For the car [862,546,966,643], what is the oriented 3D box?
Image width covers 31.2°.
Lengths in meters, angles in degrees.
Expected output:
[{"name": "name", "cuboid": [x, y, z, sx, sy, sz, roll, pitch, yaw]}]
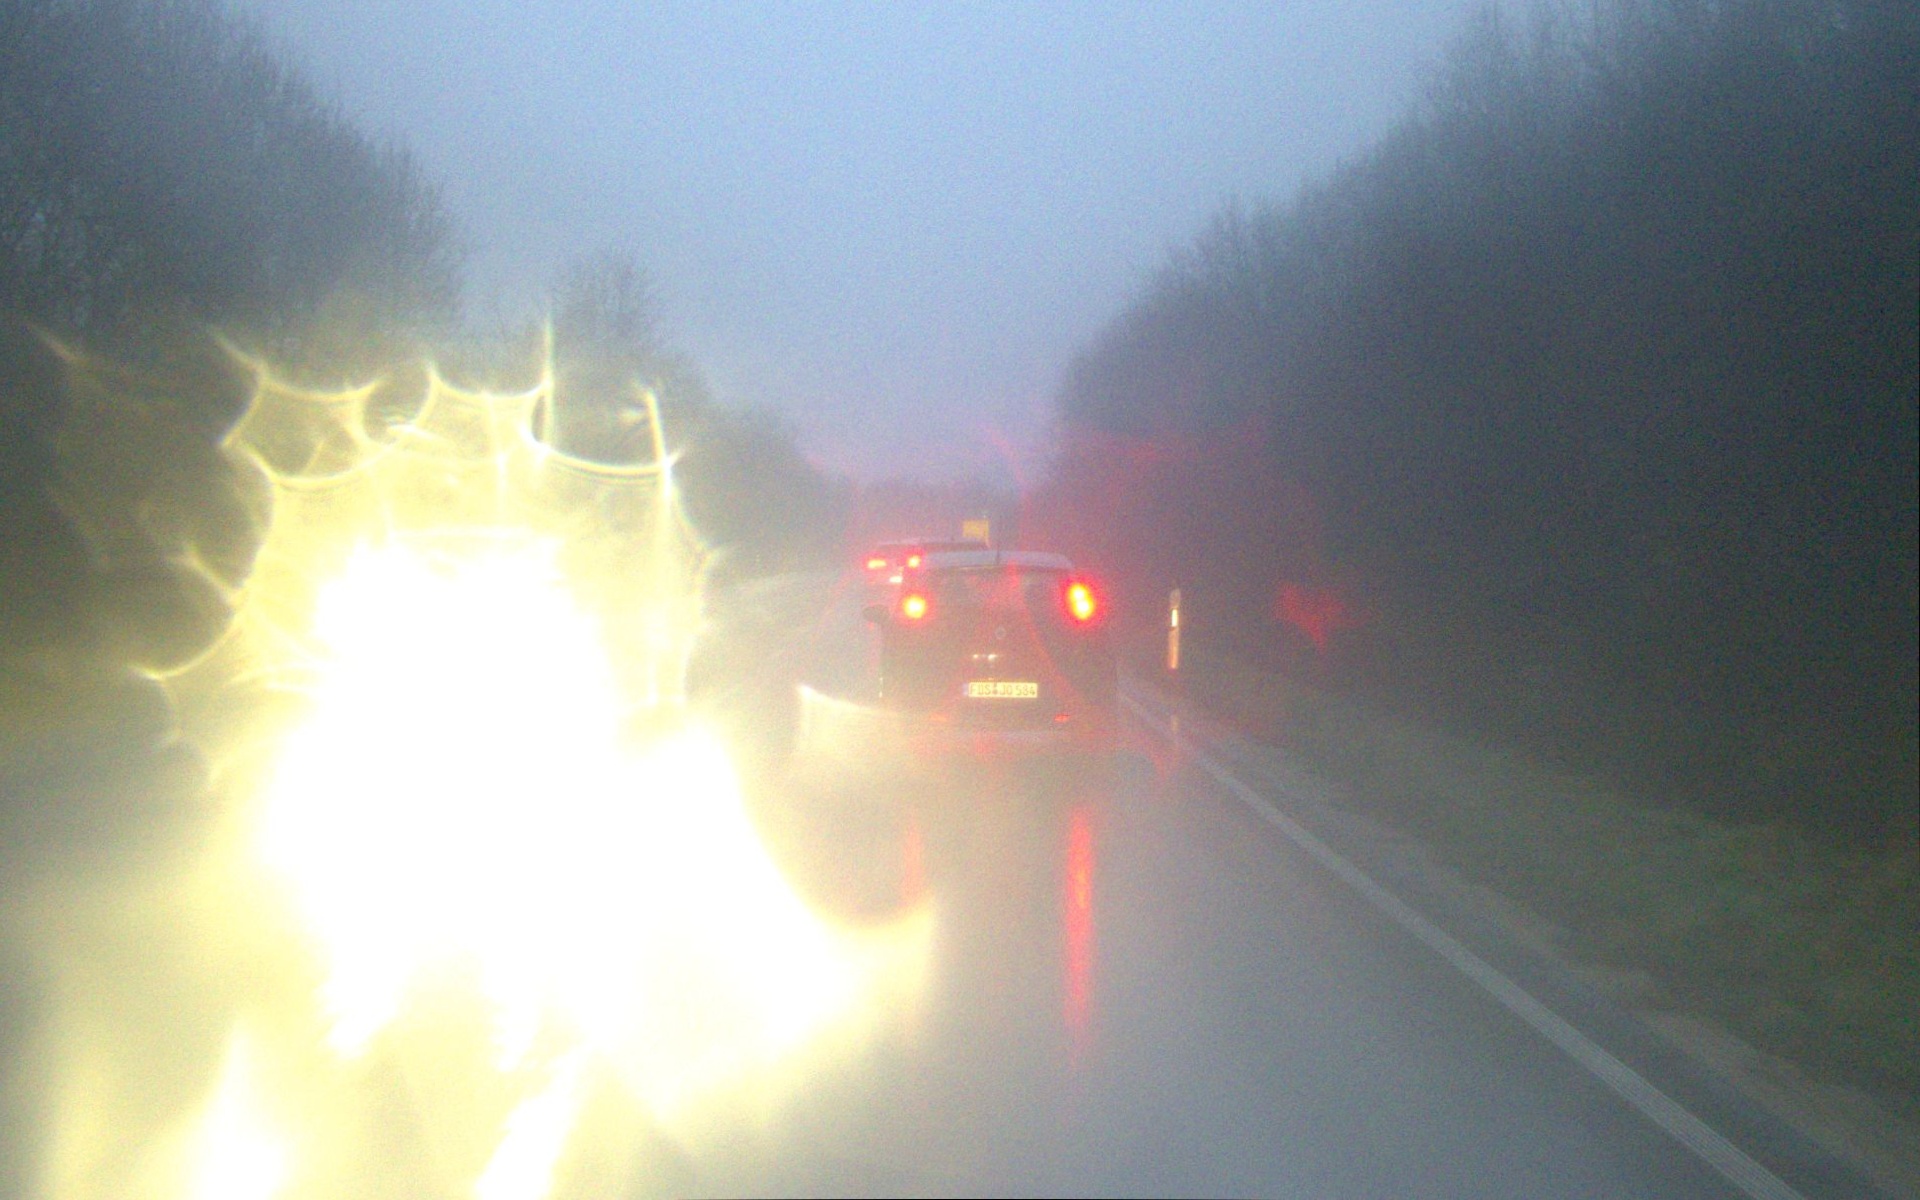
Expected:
[{"name": "car", "cuboid": [-0.782, -0.119, 60.601, 1.728, 1.638, 4.000, 1, 1, 1]}]

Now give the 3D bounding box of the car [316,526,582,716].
[{"name": "car", "cuboid": [-4.562, 0.135, 31.259, 1.872, 1.601, 4.196, 0, 1, -1]}]

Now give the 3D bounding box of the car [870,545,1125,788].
[{"name": "car", "cuboid": [0.279, 0.433, 25.539, 1.728, 1.638, 4.000, 1, 1, 1]}]
